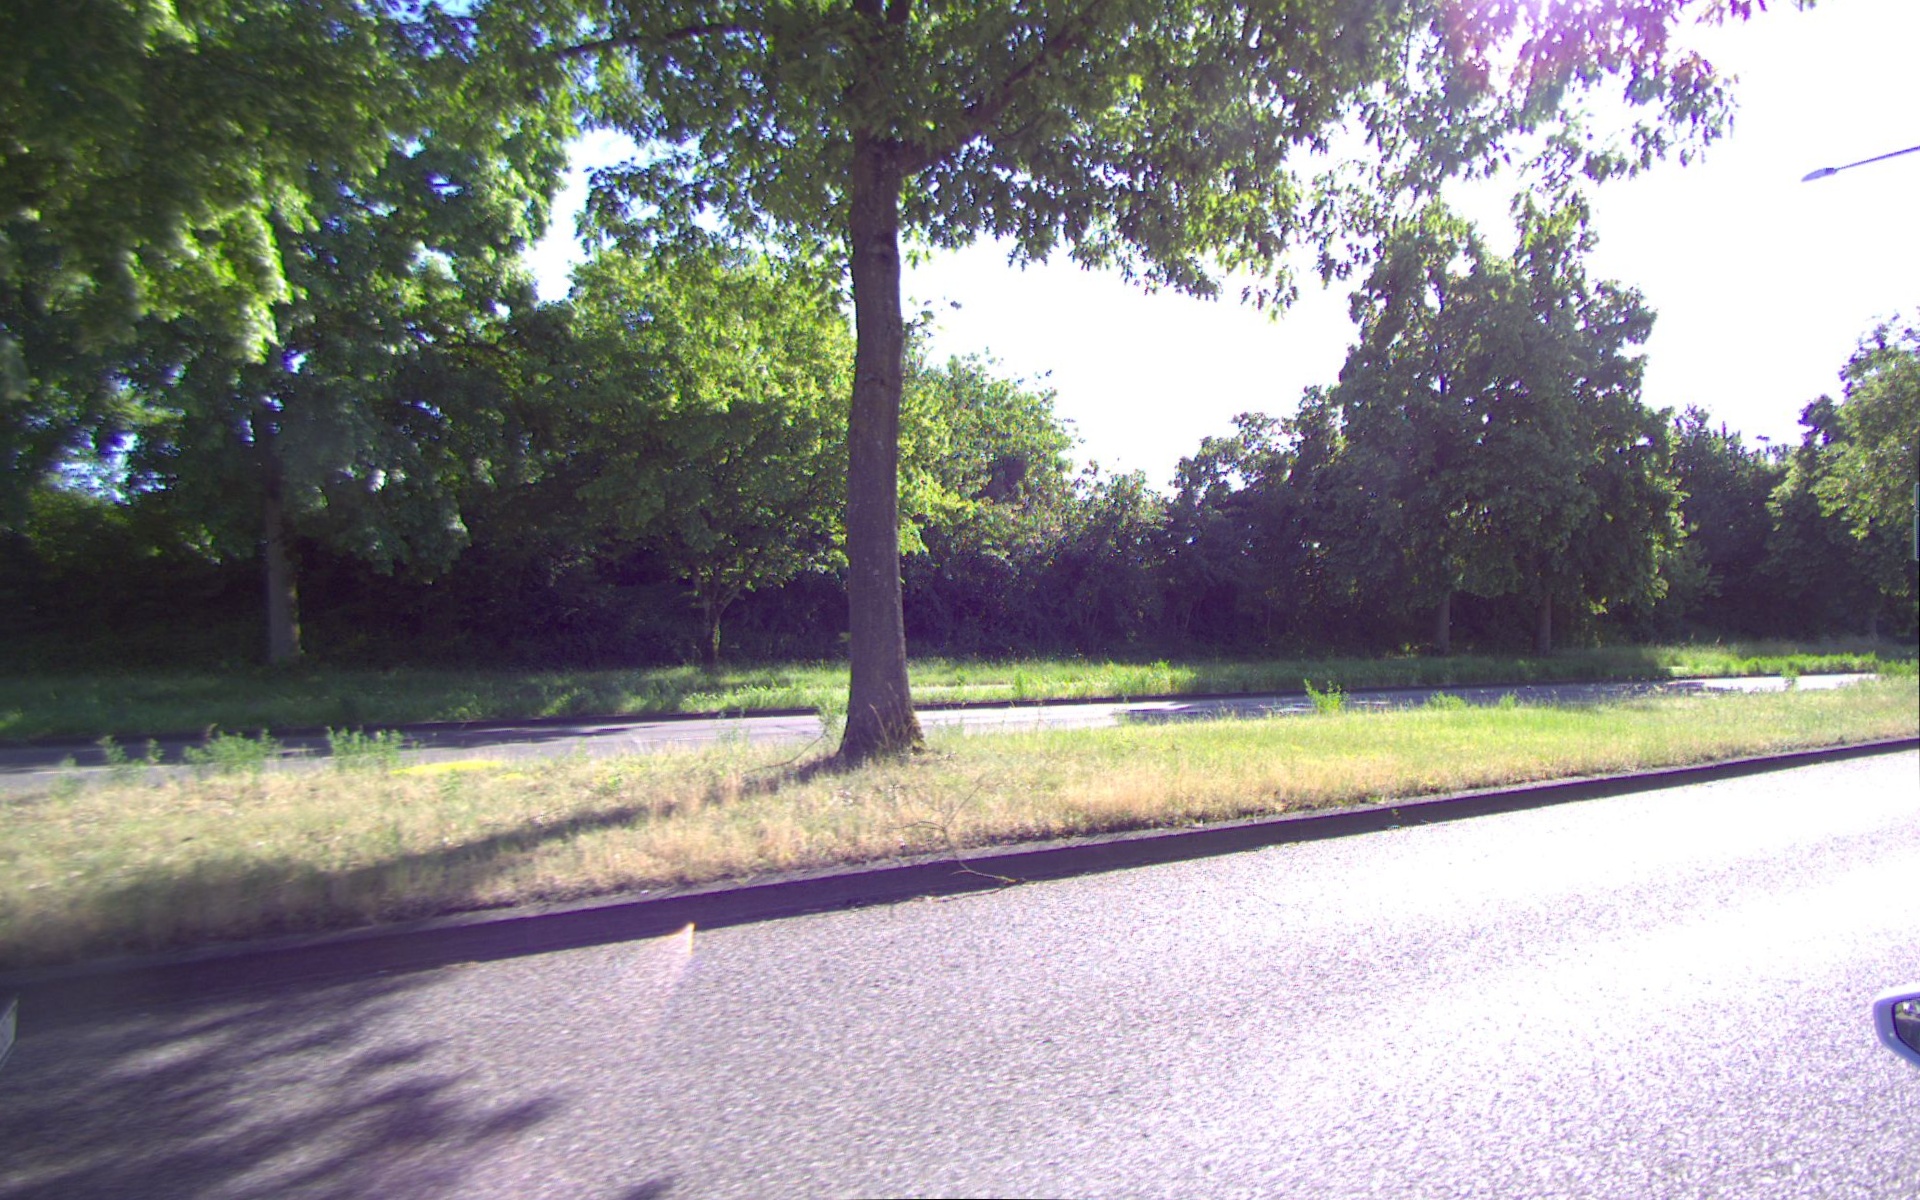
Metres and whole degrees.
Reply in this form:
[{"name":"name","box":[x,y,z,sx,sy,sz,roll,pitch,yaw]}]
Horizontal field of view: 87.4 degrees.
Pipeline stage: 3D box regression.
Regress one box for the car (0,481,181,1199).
[{"name":"car","box":[-3.760,0.594,1.088,4.366,1.653,1.688,1,-1,-30]}]
